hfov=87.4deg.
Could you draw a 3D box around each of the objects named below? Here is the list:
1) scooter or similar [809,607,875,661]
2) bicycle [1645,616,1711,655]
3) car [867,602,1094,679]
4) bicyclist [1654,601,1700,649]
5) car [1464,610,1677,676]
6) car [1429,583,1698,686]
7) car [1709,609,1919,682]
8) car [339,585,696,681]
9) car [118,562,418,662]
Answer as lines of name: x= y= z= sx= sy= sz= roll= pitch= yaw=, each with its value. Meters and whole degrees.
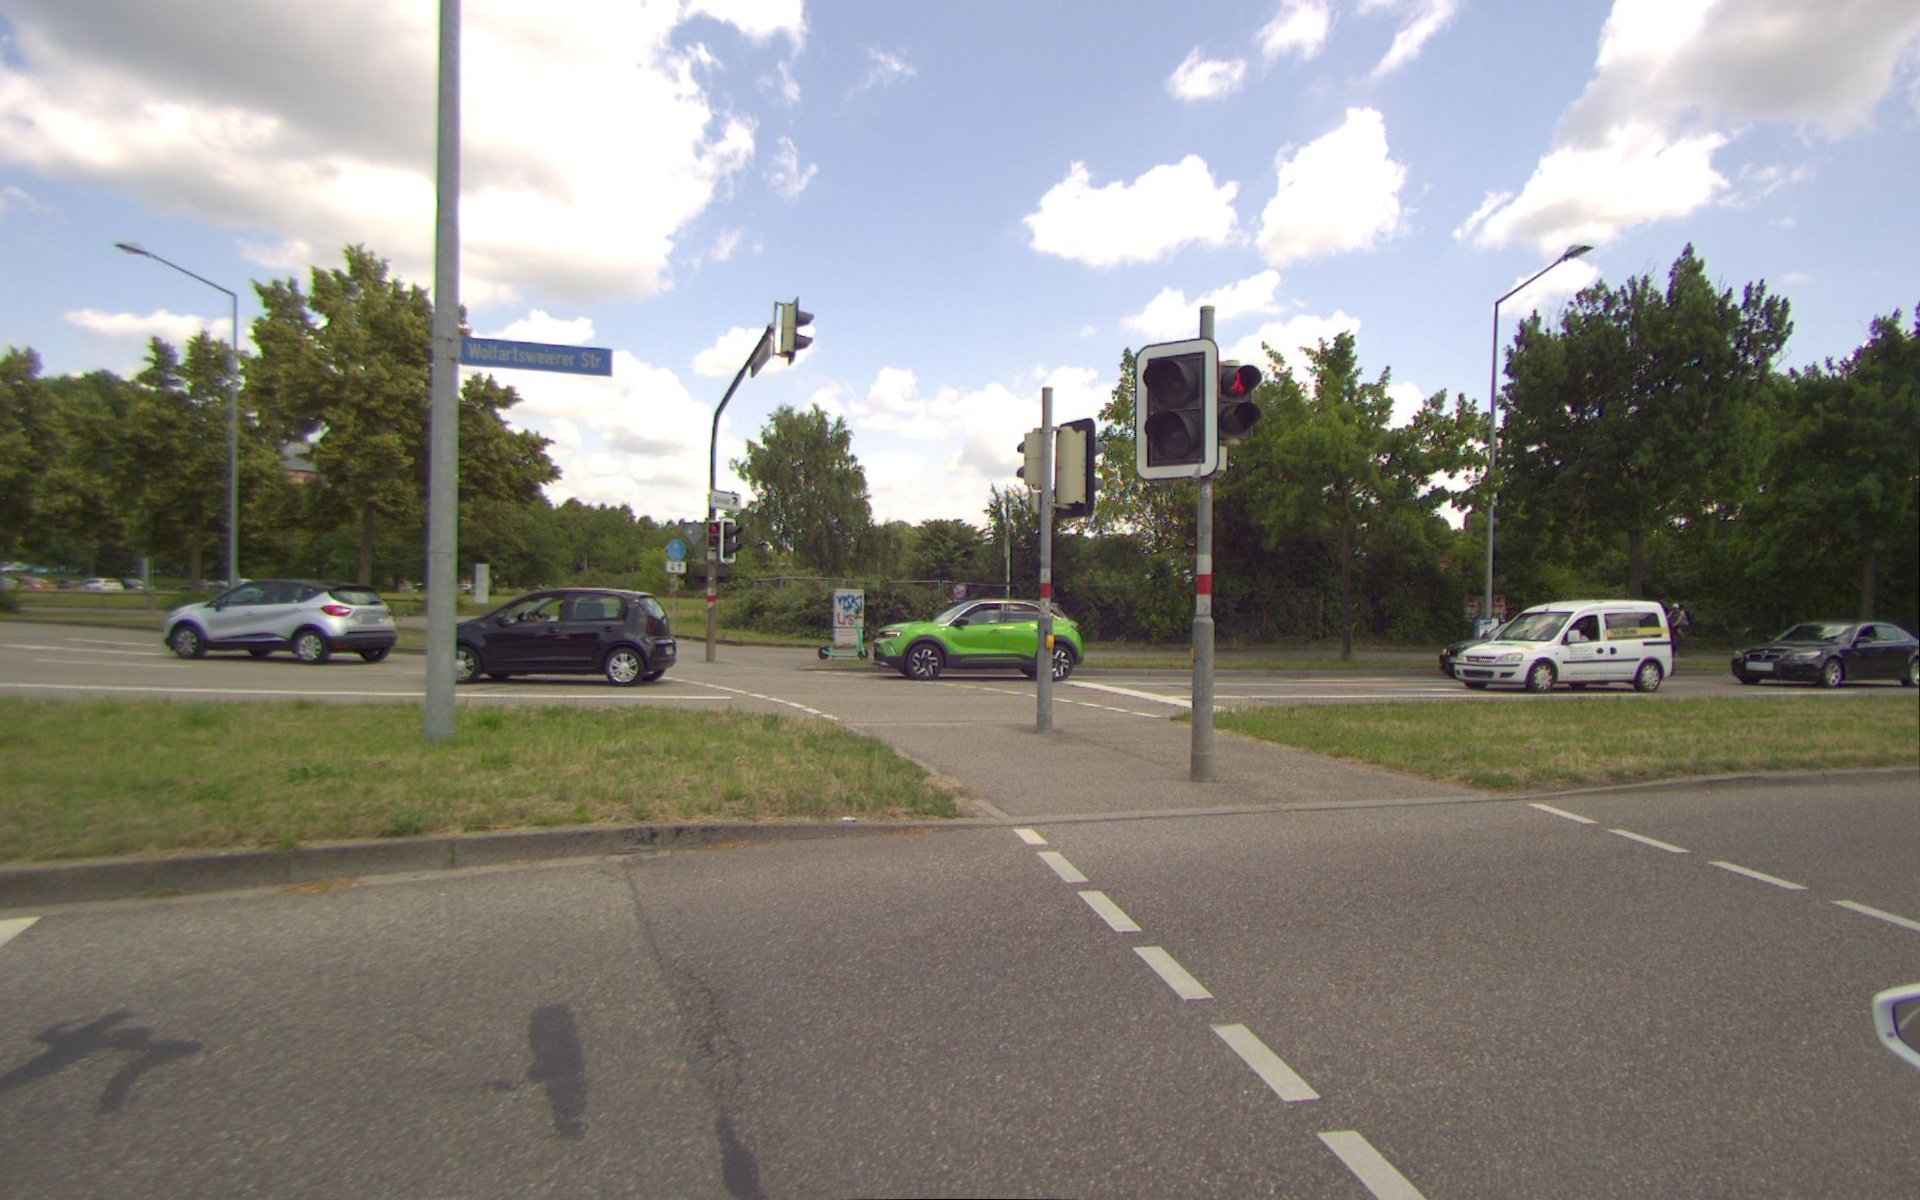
scooter or similar: x=-2.697 y=0.768 z=22.873 sx=1.416 sy=1.182 sz=0.540 roll=1 pitch=1 yaw=-15
bicycle: x=24.422 y=1.216 z=34.159 sx=1.985 sy=1.235 sz=0.760 roll=1 pitch=3 yaw=-19
car: x=0.348 y=0.785 z=19.307 sx=4.098 sy=1.366 sz=1.618 roll=1 pitch=-1 yaw=-12
bicyclist: x=24.335 y=0.845 z=34.107 sx=0.870 sy=1.586 sz=0.829 roll=1 pitch=3 yaw=-18
car: x=14.501 y=1.030 z=23.918 sx=4.344 sy=1.462 sz=1.839 roll=1 pitch=-1 yaw=-14
car: x=11.659 y=0.691 z=19.439 sx=4.712 sy=1.823 sz=1.837 roll=1 pitch=-1 yaw=-18
car: x=19.353 y=1.021 z=22.465 sx=4.678 sy=1.499 sz=1.837 roll=1 pitch=-1 yaw=-18
car: x=-6.652 y=0.514 z=15.587 sx=4.698 sy=1.328 sz=1.842 roll=1 pitch=-1 yaw=-7
car: x=-13.288 y=0.194 z=19.420 sx=4.690 sy=1.709 sz=2.001 roll=1 pitch=1 yaw=9
